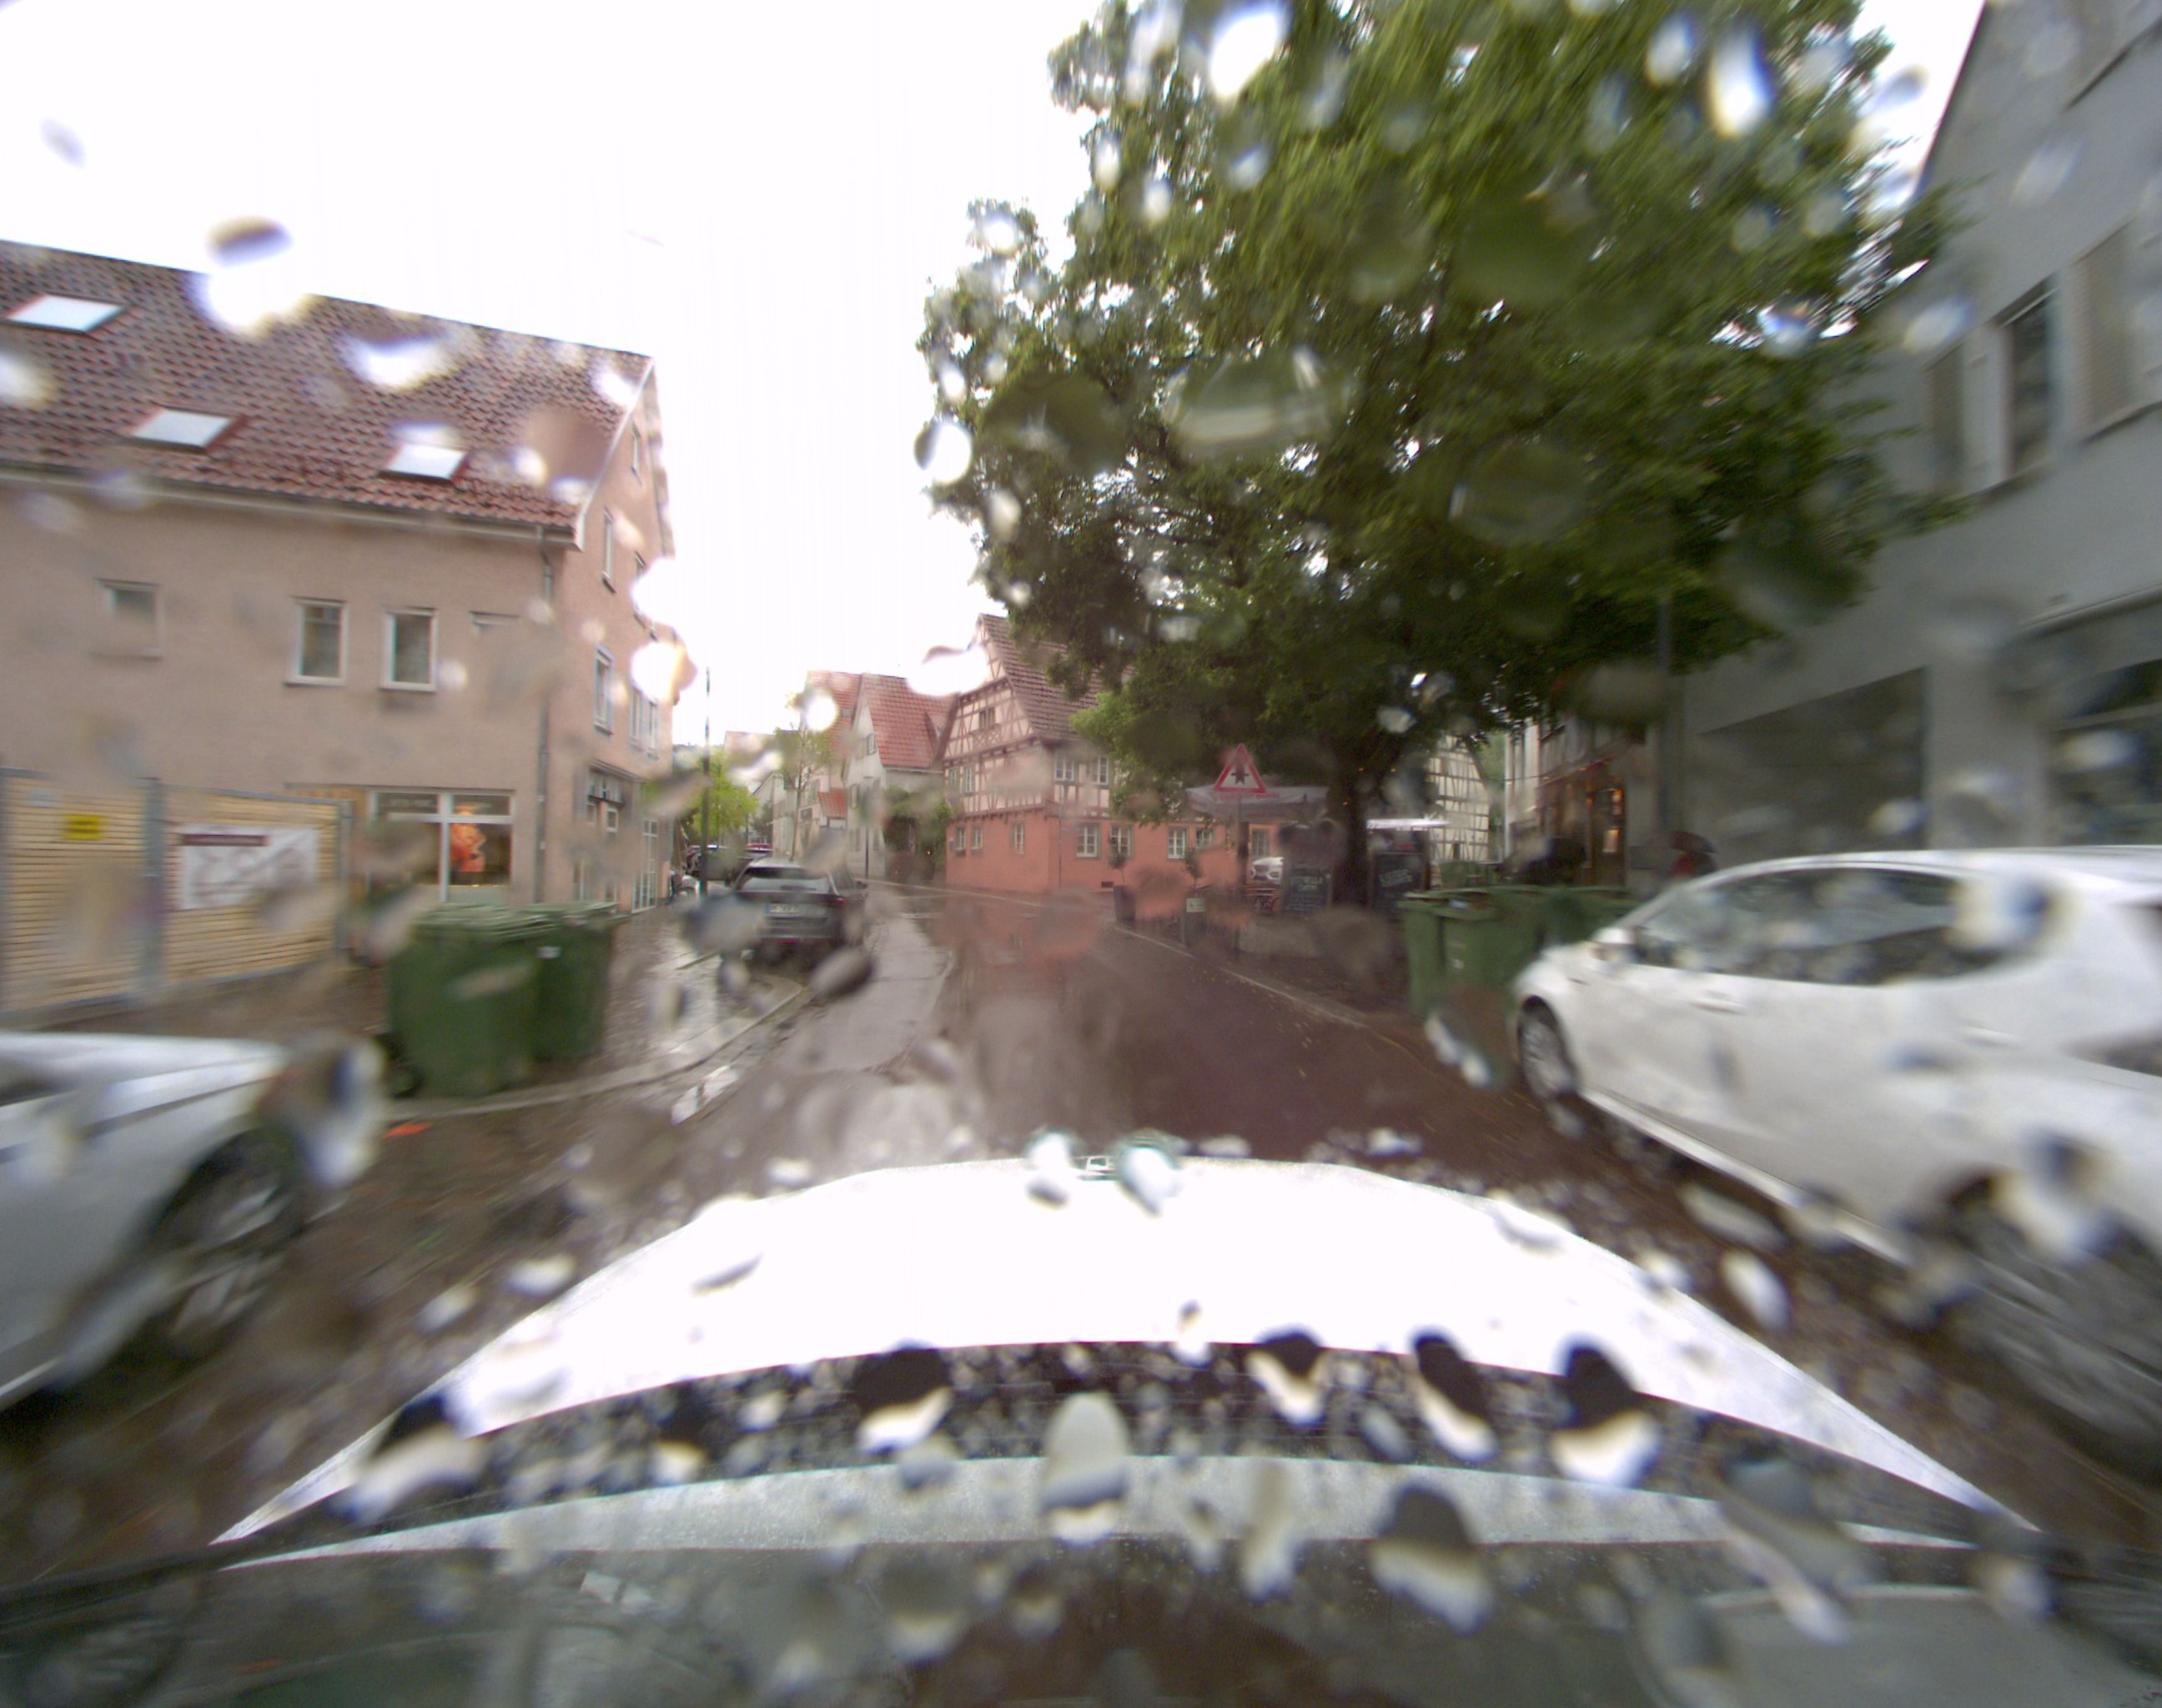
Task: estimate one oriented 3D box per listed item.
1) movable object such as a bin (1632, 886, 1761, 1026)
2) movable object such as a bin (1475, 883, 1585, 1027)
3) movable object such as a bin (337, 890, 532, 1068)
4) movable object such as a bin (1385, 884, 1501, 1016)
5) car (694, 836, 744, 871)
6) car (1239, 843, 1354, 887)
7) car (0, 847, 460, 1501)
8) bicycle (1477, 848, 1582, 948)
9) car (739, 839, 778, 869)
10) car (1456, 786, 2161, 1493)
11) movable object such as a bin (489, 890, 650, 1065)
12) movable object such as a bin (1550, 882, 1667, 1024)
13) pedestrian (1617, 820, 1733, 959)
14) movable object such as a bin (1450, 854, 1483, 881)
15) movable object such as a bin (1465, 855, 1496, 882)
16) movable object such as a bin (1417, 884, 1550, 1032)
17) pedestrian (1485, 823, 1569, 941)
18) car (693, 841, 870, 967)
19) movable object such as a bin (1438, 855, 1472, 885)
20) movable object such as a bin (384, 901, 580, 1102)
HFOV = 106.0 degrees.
[{"bbox_3d":[5.236,0.840,6.965,0.536,1.083,0.728,-1,0,-1],"label":"movable object such as a bin"},{"bbox_3d":[3.854,0.840,7.038,0.536,1.142,0.727,-1,0,-1],"label":"movable object such as a bin"},{"bbox_3d":[-4.513,0.840,5.742,0.697,1.122,0.719,3,-2,0],"label":"movable object such as a bin"},{"bbox_3d":[3.124,0.808,7.071,0.725,1.083,0.603,1,-2,-8],"label":"movable object such as a bin"},{"bbox_3d":[-18.738,0.028,42.071,1.835,1.666,4.597,2,-2,-30],"label":"car"},{"bbox_3d":[8.935,0.406,33.718,4.632,1.633,1.980,-1,2,-32],"label":"car"},{"bbox_3d":[-3.332,0.750,1.331,1.847,1.452,4.063,1,1,-7],"label":"car"},{"bbox_3d":[6.662,0.612,12.242,0.917,1.350,2.226,-1,-1,17],"label":"bicycle"},{"bbox_3d":[-21.388,-0.004,53.906,1.905,1.811,3.964,3,0,-28],"label":"car"},{"bbox_3d":[3.327,0.631,3.451,1.781,1.555,3.951,0,0,2],"label":"car"},{"bbox_3d":[-3.680,0.861,5.920,0.697,1.143,0.719,1,0,0],"label":"movable object such as a bin"},{"bbox_3d":[4.545,0.824,7.056,0.536,1.131,0.727,-1,0,-1],"label":"movable object such as a bin"},{"bbox_3d":[7.634,0.448,10.518,0.880,1.713,0.891,1,-2,7],"label":"pedestrian"},{"bbox_3d":[14.741,0.531,31.127,0.833,1.023,0.848,2,-2,-33],"label":"movable object such as a bin"},{"bbox_3d":[15.521,0.564,31.627,0.700,1.026,0.848,2,-2,-33],"label":"movable object such as a bin"},{"bbox_3d":[3.157,0.794,6.429,0.725,1.093,0.609,1,-2,-8],"label":"movable object such as a bin"},{"bbox_3d":[6.693,0.424,12.271,0.903,1.698,0.865,-1,-2,17],"label":"pedestrian"},{"bbox_3d":[-4.271,0.641,12.326,1.877,1.540,4.381,1,0,-12],"label":"car"},{"bbox_3d":[13.982,0.603,30.446,0.882,1.111,0.848,2,-2,-33],"label":"movable object such as a bin"},{"bbox_3d":[-3.747,0.889,5.153,0.680,1.136,0.719,1,0,1],"label":"movable object such as a bin"}]
